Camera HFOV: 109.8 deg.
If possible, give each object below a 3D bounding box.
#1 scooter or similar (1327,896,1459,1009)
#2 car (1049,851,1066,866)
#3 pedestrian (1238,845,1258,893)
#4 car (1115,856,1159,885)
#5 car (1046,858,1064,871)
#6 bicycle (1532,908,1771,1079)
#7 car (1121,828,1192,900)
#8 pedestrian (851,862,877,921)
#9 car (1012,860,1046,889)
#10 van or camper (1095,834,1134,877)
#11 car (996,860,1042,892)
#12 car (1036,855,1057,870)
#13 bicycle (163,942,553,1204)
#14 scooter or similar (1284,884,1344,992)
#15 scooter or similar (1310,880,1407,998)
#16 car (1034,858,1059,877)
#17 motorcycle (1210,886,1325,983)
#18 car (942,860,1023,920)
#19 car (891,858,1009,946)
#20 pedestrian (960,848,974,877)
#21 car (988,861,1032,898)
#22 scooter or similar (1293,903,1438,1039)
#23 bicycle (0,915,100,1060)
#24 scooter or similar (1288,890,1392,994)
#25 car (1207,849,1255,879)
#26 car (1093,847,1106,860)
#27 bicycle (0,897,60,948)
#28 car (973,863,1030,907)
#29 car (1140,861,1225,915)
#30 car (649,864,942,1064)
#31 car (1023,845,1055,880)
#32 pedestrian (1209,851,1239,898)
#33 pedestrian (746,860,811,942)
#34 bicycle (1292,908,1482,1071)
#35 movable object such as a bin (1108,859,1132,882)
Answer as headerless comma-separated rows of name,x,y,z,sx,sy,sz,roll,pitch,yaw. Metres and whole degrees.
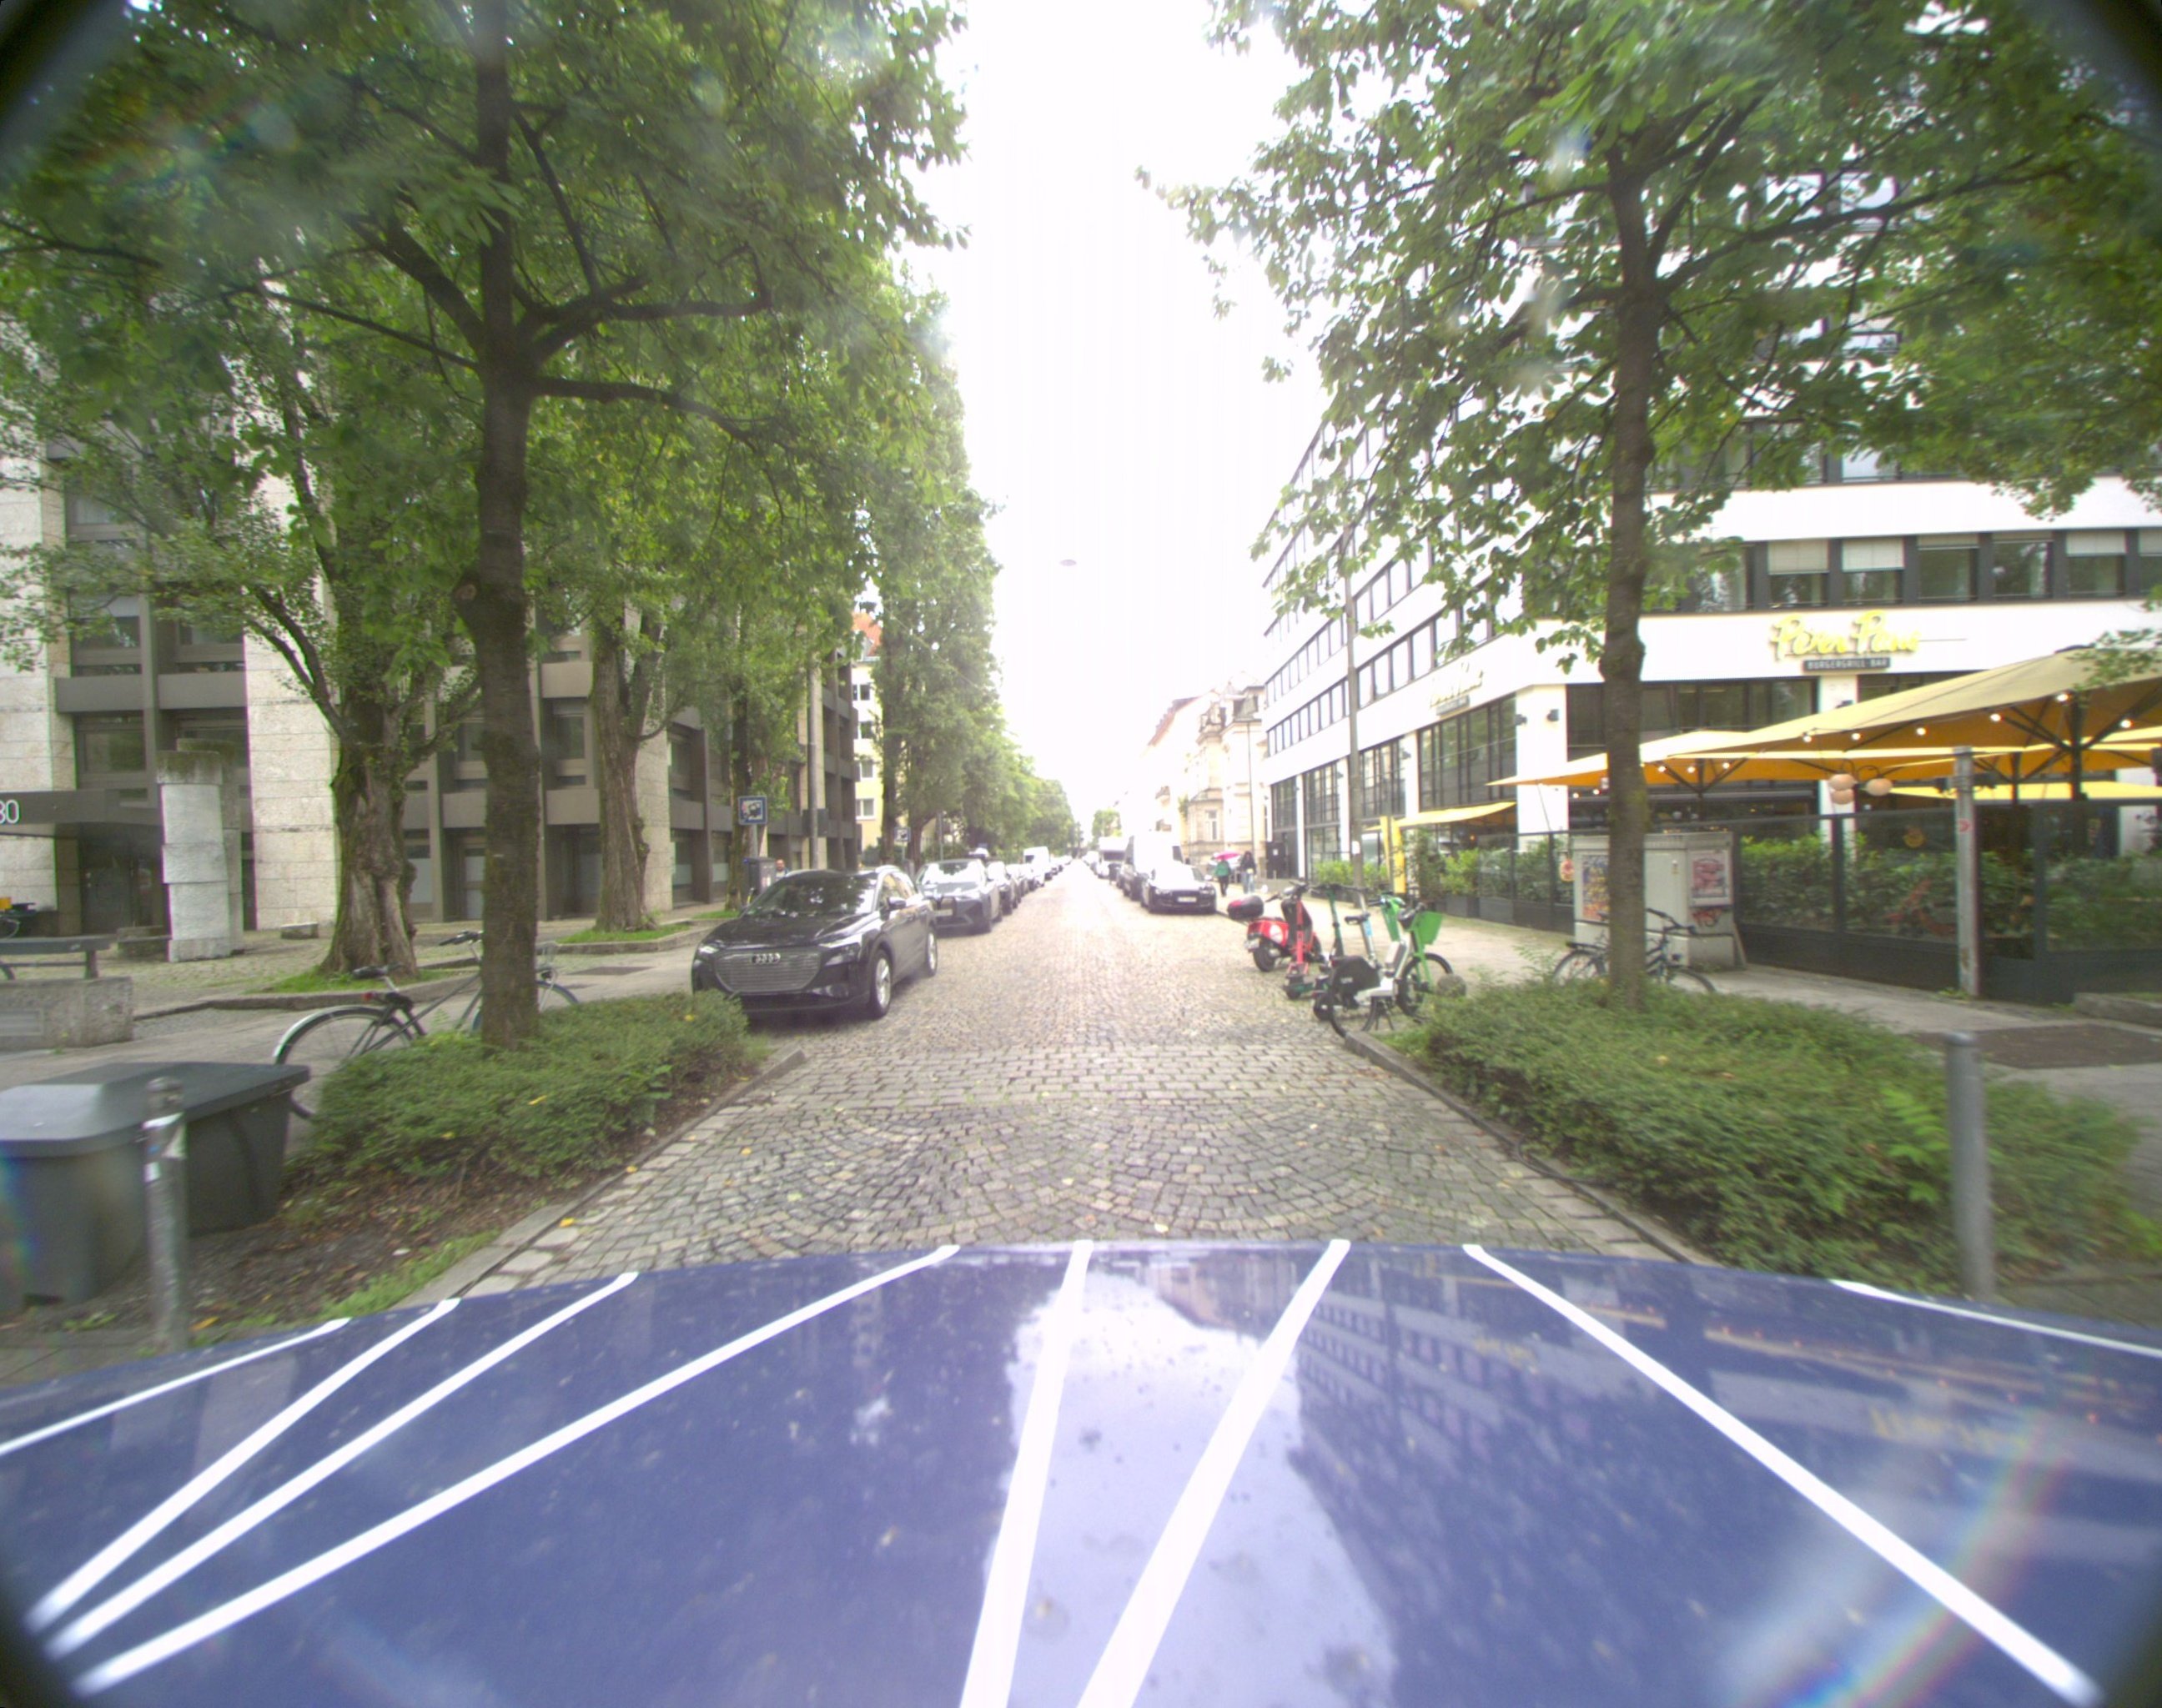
scooter or similar,3.335,1.047,8.154,1.250,1.137,0.327,-2,1,1
car,-3.020,0.509,95.105,1.999,1.680,3.872,-3,1,-2
pedestrian,6.109,0.544,27.808,0.575,1.738,0.650,-2,1,2
car,2.903,0.840,40.406,1.999,1.380,3.999,-1,0,0
car,-3.087,1.195,90.539,1.999,1.380,3.872,-2,1,-2
bicycle,4.427,1.016,6.079,0.553,1.016,1.762,-2,0,-1
car,2.785,0.337,29.438,2.065,2.476,5.848,-1,0,-1
pedestrian,-6.156,1.053,21.604,0.489,1.619,0.568,-2,1,3
car,-3.030,1.156,45.085,1.868,1.490,3.872,-3,1,-2
van or camper,2.547,0.097,59.531,2.464,3.030,7.316,-2,0,-1
car,-3.194,1.113,39.799,1.999,1.380,3.873,-3,1,0
car,-3.460,0.816,76.264,1.999,1.380,3.872,-3,1,-2
bicycle,-4.439,1.253,4.906,0.475,1.130,1.877,-2,1,9
scooter or similar,3.061,1.051,9.924,0.326,1.265,1.360,-1,0,34
scooter or similar,3.302,0.974,9.004,1.253,1.265,0.327,-2,1,-30
car,-2.918,1.126,64.143,1.999,1.380,3.872,-3,1,-2
motorcycle,2.706,1.083,10.884,0.769,1.189,1.995,0,0,41
car,-2.980,1.035,23.891,1.999,1.573,4.341,-2,0,-1
car,-2.954,1.005,18.144,2.018,1.690,4.672,-3,0,-1
pedestrian,-6.183,0.445,41.271,0.645,1.528,0.709,-2,1,-3
car,-3.185,1.119,34.804,1.605,1.422,3.562,-4,0,0
scooter or similar,2.769,1.094,7.358,1.432,1.137,0.369,-2,1,-23
bicycle,-10.850,1.281,7.308,1.867,1.269,0.722,-2,1,2
scooter or similar,3.240,1.065,9.597,0.391,1.173,1.248,-2,1,-31
car,8.377,0.541,42.744,1.912,1.523,4.169,-2,0,1
car,3.446,-0.042,144.751,2.088,2.418,5.609,-2,0,-1
bicycle,-25.825,1.656,17.830,0.647,1.149,2.246,-2,1,1
car,-3.105,1.186,30.396,1.723,1.382,4.205,-5,1,0
car,2.864,0.917,22.359,1.998,1.322,4.116,-2,0,1
car,-3.015,1.042,9.120,1.925,1.690,4.200,-3,0,-1
car,-3.151,0.599,57.762,2.088,2.418,5.609,-3,1,-1
pedestrian,5.300,0.757,28.212,0.928,1.696,0.800,-2,1,3
pedestrian,-6.528,0.996,16.432,0.867,1.704,0.913,-1,1,20
bicycle,2.701,1.115,6.645,1.765,1.136,0.552,-2,1,-30
movable object such as a bin,2.324,0.983,45.348,1.255,1.290,1.174,-1,1,-4
